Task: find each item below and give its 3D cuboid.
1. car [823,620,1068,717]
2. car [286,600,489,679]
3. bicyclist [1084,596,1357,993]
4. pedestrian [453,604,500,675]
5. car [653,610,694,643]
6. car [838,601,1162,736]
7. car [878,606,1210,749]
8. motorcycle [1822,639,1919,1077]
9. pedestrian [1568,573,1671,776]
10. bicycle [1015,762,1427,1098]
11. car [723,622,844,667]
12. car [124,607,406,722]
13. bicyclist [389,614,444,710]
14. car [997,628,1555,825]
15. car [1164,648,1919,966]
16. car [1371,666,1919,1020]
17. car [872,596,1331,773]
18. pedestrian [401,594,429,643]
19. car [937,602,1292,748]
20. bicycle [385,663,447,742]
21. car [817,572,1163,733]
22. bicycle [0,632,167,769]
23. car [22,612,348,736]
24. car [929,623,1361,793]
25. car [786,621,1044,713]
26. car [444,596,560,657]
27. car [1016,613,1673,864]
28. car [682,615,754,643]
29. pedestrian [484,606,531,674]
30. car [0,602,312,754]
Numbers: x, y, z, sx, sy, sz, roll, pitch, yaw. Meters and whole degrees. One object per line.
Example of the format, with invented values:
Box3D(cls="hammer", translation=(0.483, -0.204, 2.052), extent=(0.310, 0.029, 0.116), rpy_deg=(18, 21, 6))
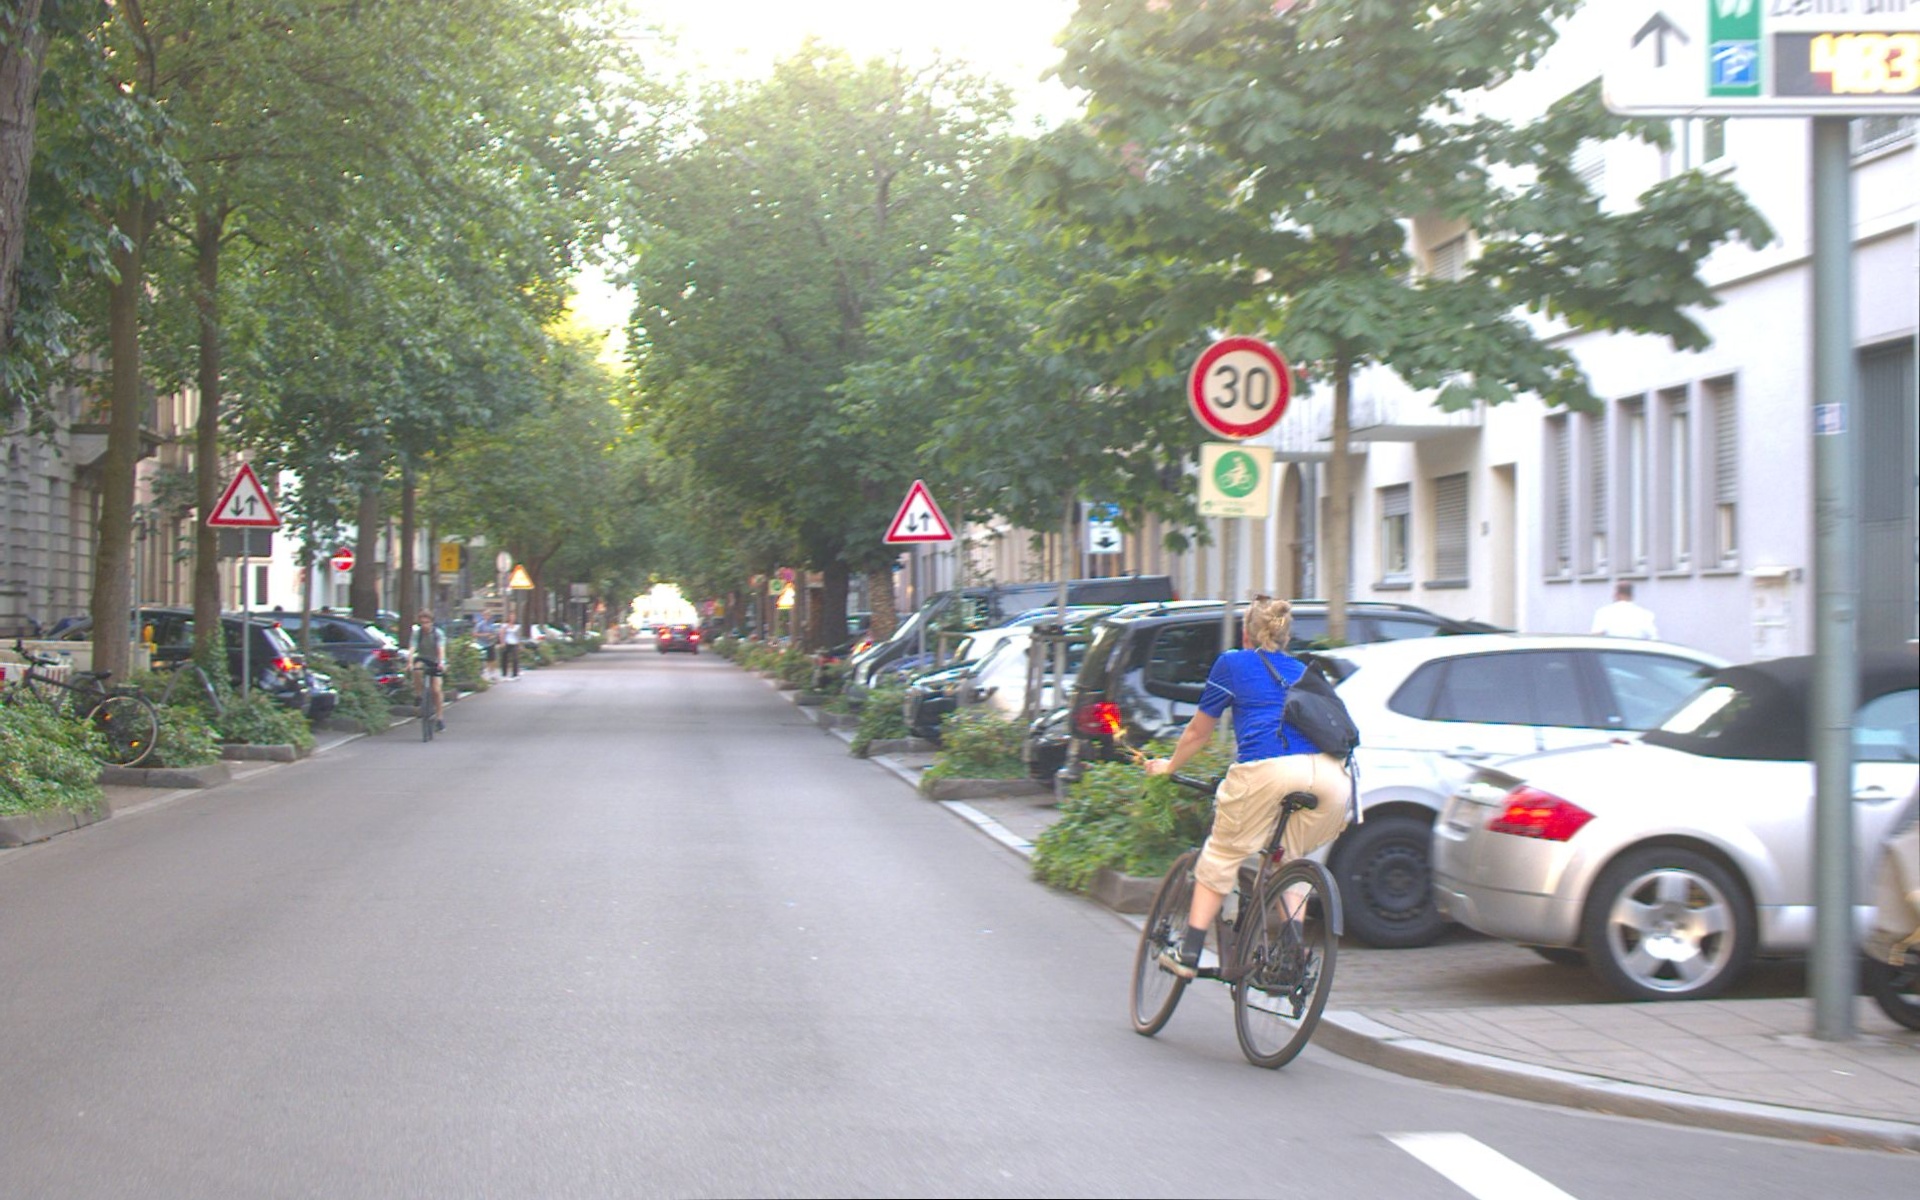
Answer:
Box3D(cls="car", translation=(-0.282, 1.176, 59.585), extent=(3.986, 1.433, 1.927), rpy_deg=(-3, 0, -6))
Box3D(cls="car", translation=(-13.175, 0.898, 79.324), extent=(4.425, 1.645, 1.873), rpy_deg=(2, 0, -4))
Box3D(cls="bicyclist", translation=(0.920, 0.680, 12.263), extent=(0.672, 1.359, 0.777), rpy_deg=(2, -1, -21))
Box3D(cls="pedestrian", translation=(-11.909, 0.981, 84.652), extent=(0.830, 1.731, 0.795), rpy_deg=(-1, -1, 39))
Box3D(cls="car", translation=(-13.982, 1.300, 167.718), extent=(1.956, 1.560, 4.283), rpy_deg=(-1, -1, -5))
Box3D(cls="car", translation=(0.518, 0.922, 47.133), extent=(4.155, 1.573, 1.970), rpy_deg=(-3, 0, -6))
Box3D(cls="car", translation=(1.041, 0.981, 44.064), extent=(3.964, 1.573, 1.852), rpy_deg=(-3, 0, -6))
Box3D(cls="motorcycle", translation=(3.876, 0.821, 11.319), extent=(1.908, 1.388, 0.999), rpy_deg=(0, -1, 8))
Box3D(cls="pedestrian", translation=(5.921, 0.660, 30.891), extent=(0.697, 1.789, 0.881), rpy_deg=(0, 0, -4))
Box3D(cls="bicycle", translation=(0.887, 1.135, 12.300), extent=(0.672, 1.026, 1.977), rpy_deg=(2, -1, -21))
Box3D(cls="car", translation=(-6.967, 1.761, 135.726), extent=(4.717, 1.704, 1.950), rpy_deg=(1, 0, -3))
Box3D(cls="car", translation=(-11.117, 1.023, 55.241), extent=(4.200, 1.666, 1.908), rpy_deg=(2, 0, -5))
Box3D(cls="bicyclist", translation=(-7.171, 0.811, 45.409), extent=(0.672, 1.259, 0.648), rpy_deg=(0, 0, -5))
Box3D(cls="car", translation=(2.563, 1.018, 28.519), extent=(4.314, 1.491, 1.794), rpy_deg=(-1, -1, -6))
Box3D(cls="car", translation=(3.091, 0.960, 16.696), extent=(3.986, 1.433, 1.794), rpy_deg=(0, 0, -4))
Box3D(cls="car", translation=(3.809, 0.951, 14.120), extent=(3.986, 1.328, 1.794), rpy_deg=(0, 0, -2))
Box3D(cls="car", translation=(1.459, 0.881, 36.703), extent=(4.589, 1.573, 1.944), rpy_deg=(-3, 0, -6))
Box3D(cls="pedestrian", translation=(-19.761, 0.684, 124.631), extent=(0.704, 1.751, 0.739), rpy_deg=(0, -1, 19))
Box3D(cls="car", translation=(1.742, 0.847, 39.439), extent=(3.792, 1.418, 1.698), rpy_deg=(-3, 0, -6))
Box3D(cls="bicycle", translation=(-7.170, 1.339, 45.365), extent=(0.672, 0.990, 1.758), rpy_deg=(0, 0, -5))
Box3D(cls="car", translation=(0.394, 0.744, 49.499), extent=(4.688, 2.004, 2.037), rpy_deg=(-3, 0, -5))
Box3D(cls="bicycle", translation=(-8.191, 0.914, 31.370), extent=(1.771, 1.228, 0.500), rpy_deg=(1, -2, 0))
Box3D(cls="car", translation=(-10.334, 0.980, 46.065), extent=(3.964, 1.382, 1.765), rpy_deg=(3, 0, -4))
Box3D(cls="car", translation=(1.794, 1.054, 34.326), extent=(4.074, 1.424, 1.818), rpy_deg=(-3, 0, -3))
Box3D(cls="car", translation=(-0.834, 1.195, 62.000), extent=(4.399, 1.389, 1.886), rpy_deg=(-3, 0, -7))
Box3D(cls="car", translation=(-19.054, 1.115, 143.281), extent=(4.681, 2.469, 2.000), rpy_deg=(1, -1, -5))
Box3D(cls="car", translation=(2.512, 0.896, 23.163), extent=(4.109, 1.612, 1.961), rpy_deg=(0, 0, -4))
Box3D(cls="car", translation=(-14.588, 1.765, 206.912), extent=(4.267, 1.560, 1.963), rpy_deg=(-1, -1, -5))
Box3D(cls="pedestrian", translation=(-11.198, 0.987, 85.106), extent=(0.830, 1.665, 0.795), rpy_deg=(-1, -1, 39))
Box3D(cls="car", translation=(-10.221, 0.955, 42.827), extent=(3.964, 1.591, 1.781), rpy_deg=(4, -1, -5))
